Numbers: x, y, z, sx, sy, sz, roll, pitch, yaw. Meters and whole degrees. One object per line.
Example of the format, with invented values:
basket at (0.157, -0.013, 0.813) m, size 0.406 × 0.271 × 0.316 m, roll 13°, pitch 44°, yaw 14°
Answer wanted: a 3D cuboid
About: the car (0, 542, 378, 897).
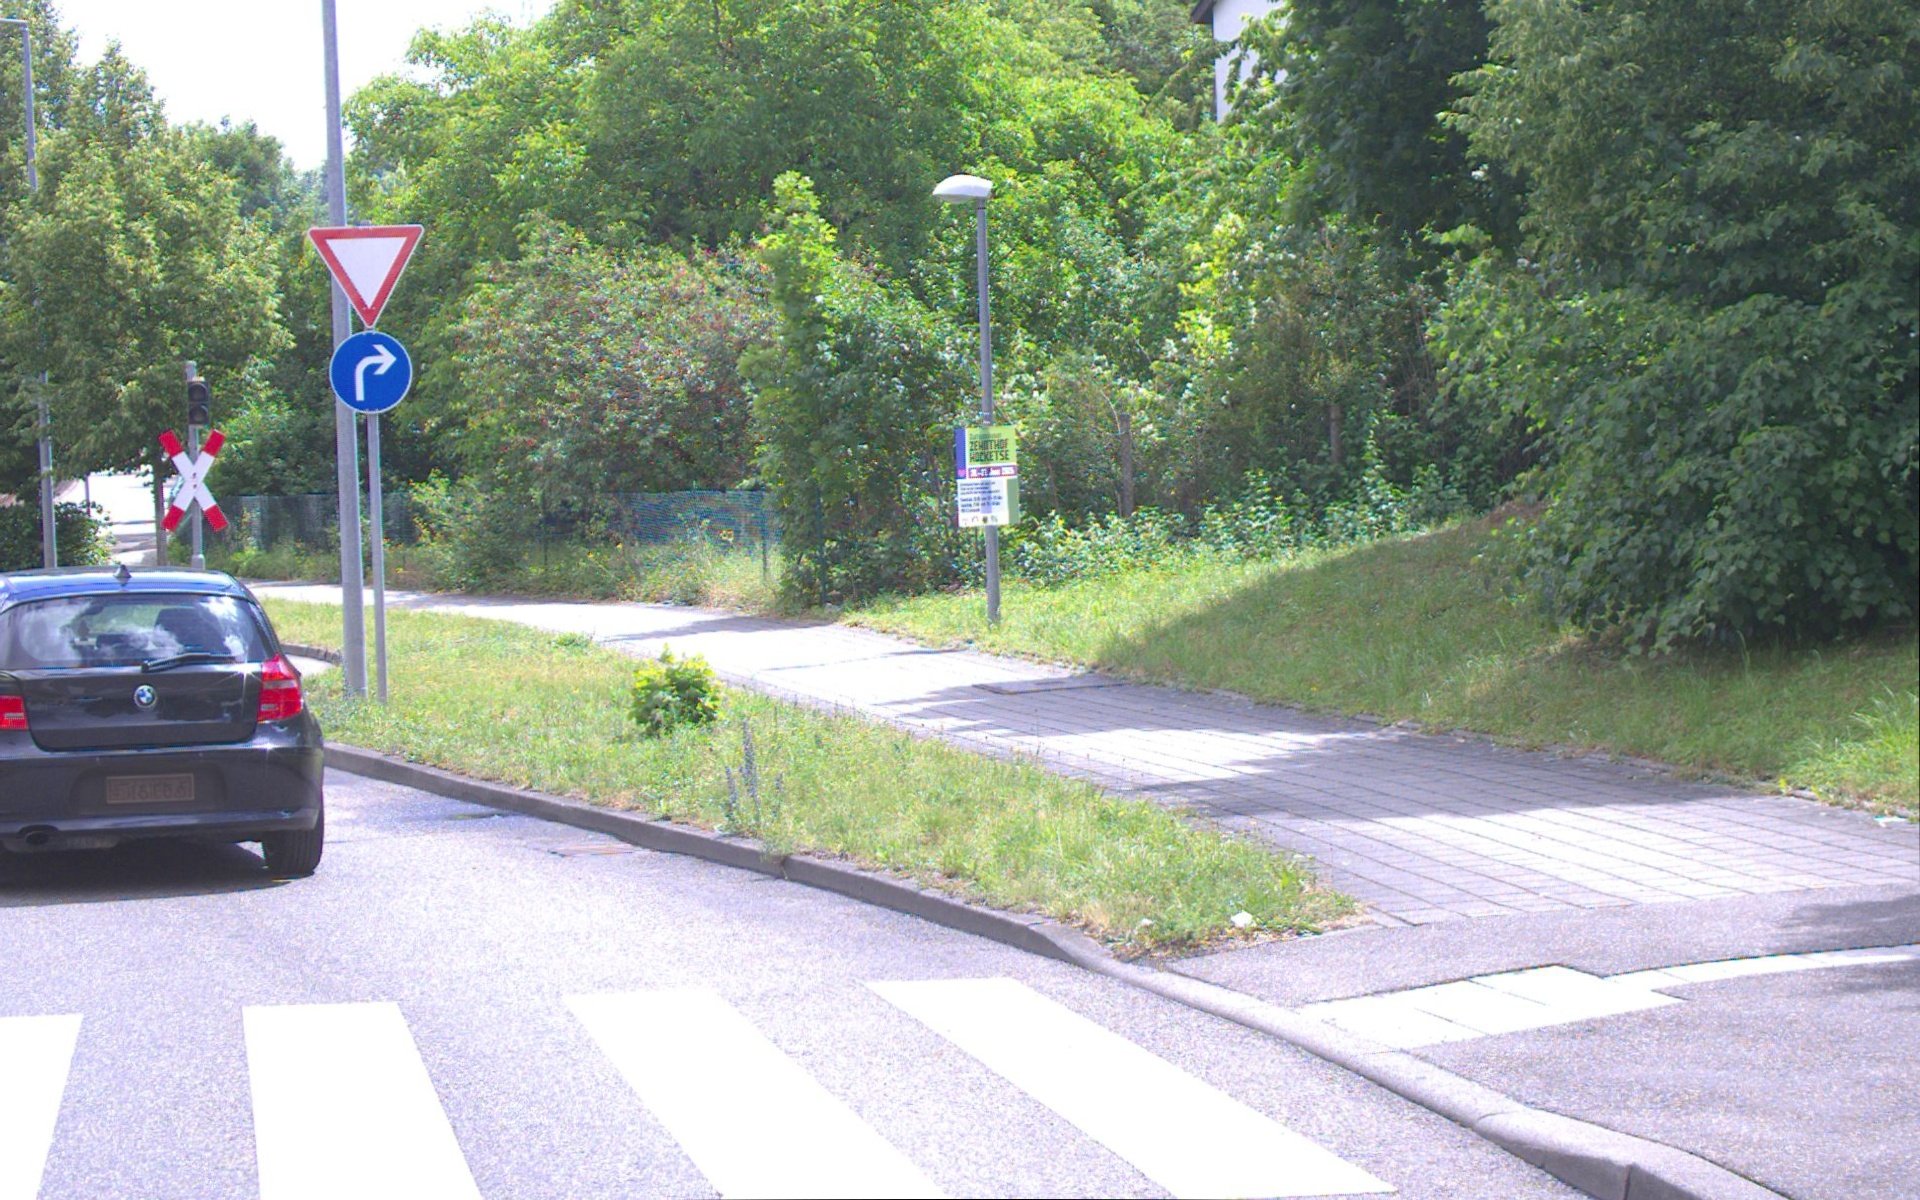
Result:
car at (-4.143, 0.520, 16.505) m, size 1.815 × 1.416 × 4.001 m, roll -3°, pitch 1°, yaw -21°
